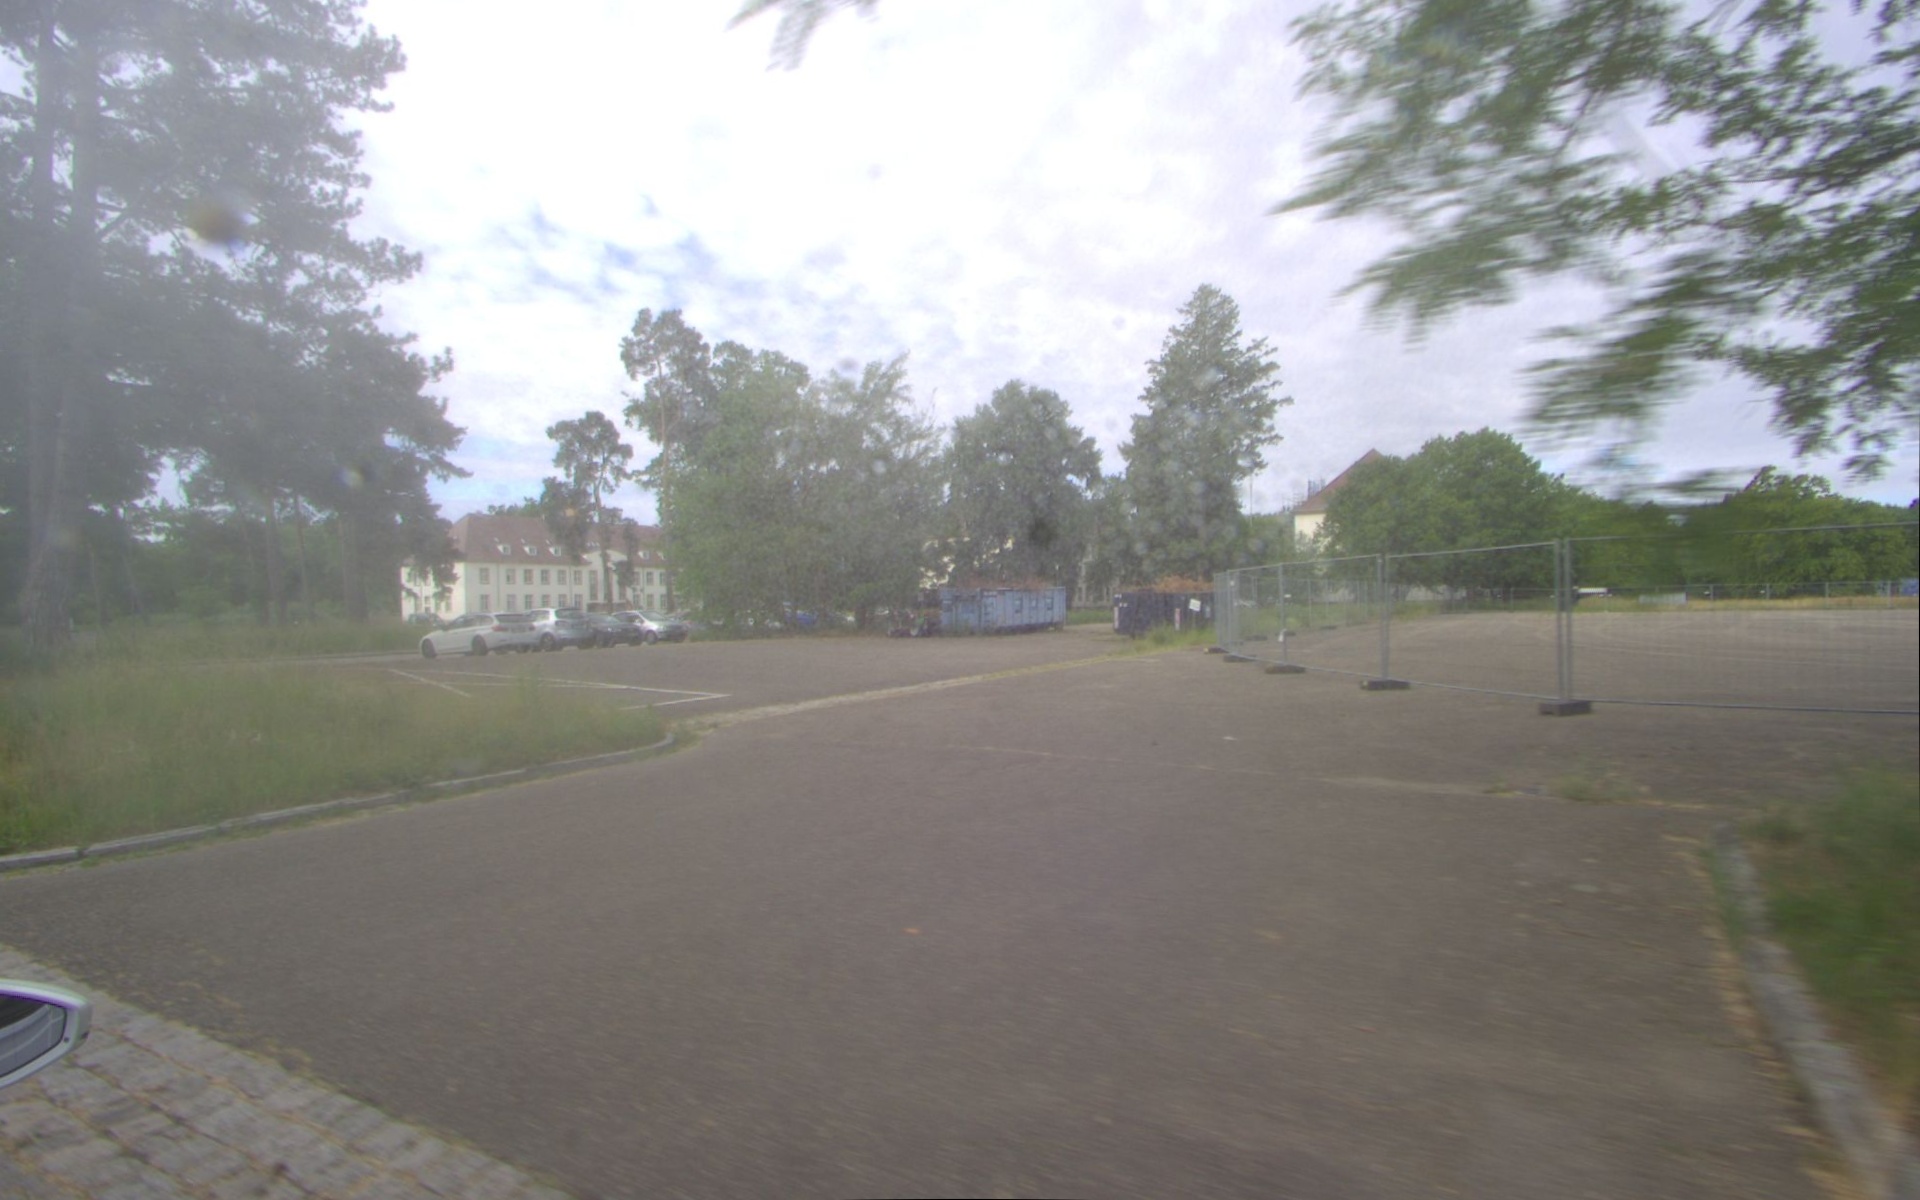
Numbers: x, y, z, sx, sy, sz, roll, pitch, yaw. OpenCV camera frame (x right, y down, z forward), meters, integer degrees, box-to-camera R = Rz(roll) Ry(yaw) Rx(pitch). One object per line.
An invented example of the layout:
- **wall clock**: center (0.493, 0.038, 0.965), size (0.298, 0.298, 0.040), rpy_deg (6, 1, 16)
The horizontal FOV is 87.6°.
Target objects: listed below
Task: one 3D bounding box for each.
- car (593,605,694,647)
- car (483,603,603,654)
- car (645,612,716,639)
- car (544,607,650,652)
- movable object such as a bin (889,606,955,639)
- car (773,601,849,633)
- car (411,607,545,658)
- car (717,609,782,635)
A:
- **car**: center (-13.181, 1.081, 41.638), size (4.186, 1.504, 1.697), rpy_deg (-4, -1, 33)
- **car**: center (-15.273, 1.057, 36.623), size (4.181, 1.626, 1.780), rpy_deg (-4, -1, 29)
- **car**: center (-16.019, 1.442, 57.270), size (4.189, 1.492, 1.728), rpy_deg (-1, 0, 37)
- **car**: center (-14.174, 1.142, 39.034), size (4.186, 1.504, 1.697), rpy_deg (-4, -1, 33)
- **movable object such as a bin**: center (-1.354, 0.799, 35.724), size (2.176, 1.149, 0.960), rpy_deg (-1, -1, 23)
- **car**: center (-9.923, 1.106, 66.571), size (4.724, 2.053, 2.131), rpy_deg (-1, 0, 33)
- **car**: center (-16.531, 1.124, 34.297), size (4.541, 1.505, 1.847), rpy_deg (-4, -3, 29)
- **car**: center (-13.101, 1.348, 62.134), size (4.189, 1.521, 1.611), rpy_deg (-1, 0, 37)
